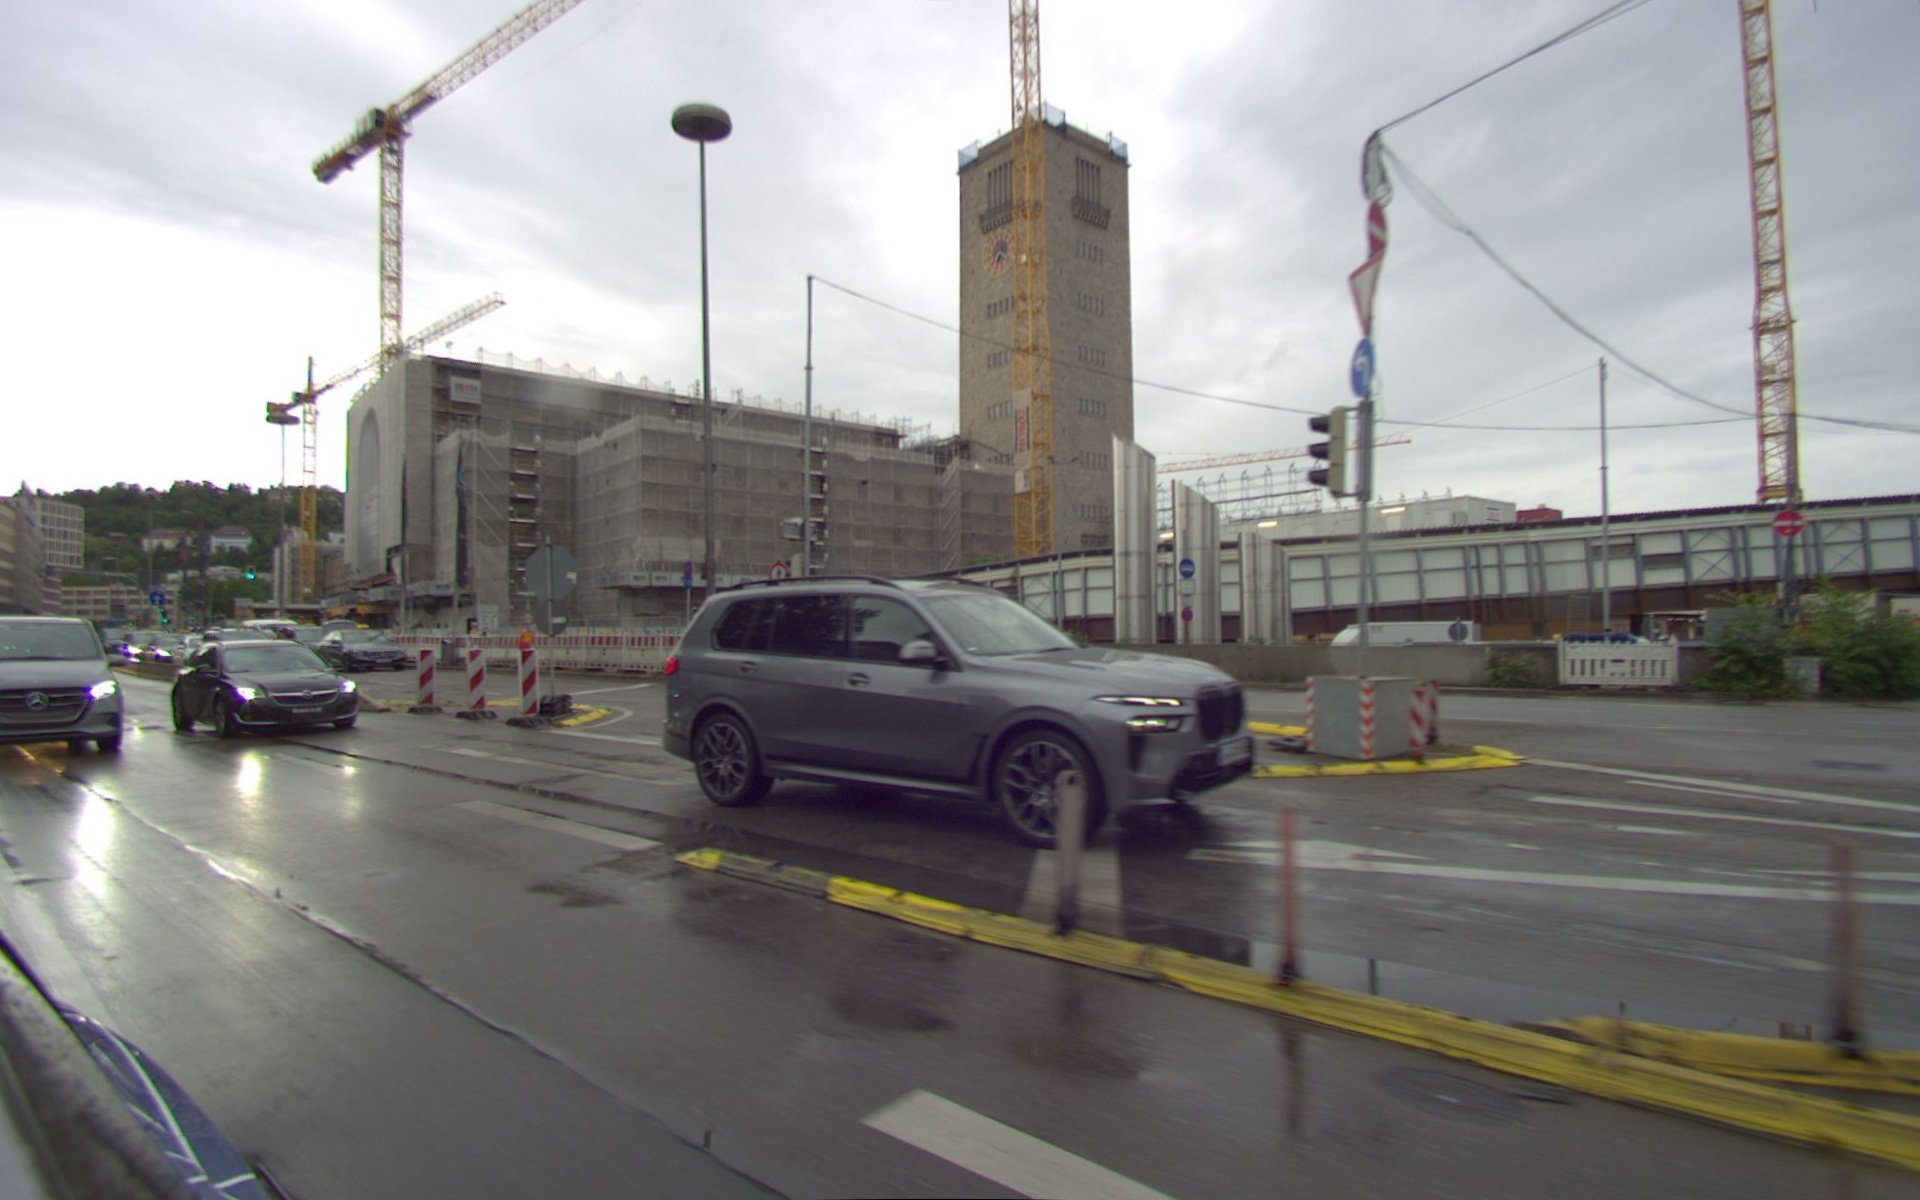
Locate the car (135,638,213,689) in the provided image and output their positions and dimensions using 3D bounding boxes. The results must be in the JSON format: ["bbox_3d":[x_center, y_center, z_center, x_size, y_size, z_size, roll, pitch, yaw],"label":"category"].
[{"bbox_3d":[-34.514,2.769,44.411,4.714,2.130,1.971,-3,-4,44],"label":"car"}]

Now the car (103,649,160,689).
[{"bbox_3d":[-43.261,3.551,52.821,1.970,2.029,4.003,2,-4,-44],"label":"car"}]

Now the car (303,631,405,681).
[{"bbox_3d":[-21.521,1.990,35.873,4.572,1.665,1.808,-3,-4,42],"label":"car"}]

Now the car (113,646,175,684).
[{"bbox_3d":[-39.196,3.094,48.573,1.969,1.730,4.760,2,-4,-42],"label":"car"}]

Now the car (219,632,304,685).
[{"bbox_3d":[-30.860,2.567,44.639,4.997,2.224,1.976,-3,-4,43],"label":"car"}]

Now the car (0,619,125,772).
[{"bbox_3d":[-13.646,1.312,14.495,5.358,1.870,1.972,-4,-3,43],"label":"car"}]

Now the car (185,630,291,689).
[{"bbox_3d":[-24.264,1.966,33.963,4.292,1.828,1.972,-3,-4,42],"label":"car"}]

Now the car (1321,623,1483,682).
[{"bbox_3d":[16.045,1.923,36.997,4.963,2.029,1.997,-1,-3,5],"label":"car"}]

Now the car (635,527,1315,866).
[{"bbox_3d":[-0.098,0.624,8.025,5.064,1.877,2.189,-2,-2,36],"label":"car"}]

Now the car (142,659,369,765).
[{"bbox_3d":[-11.722,1.746,16.705,4.914,1.475,1.789,-2,-6,40],"label":"car"}]

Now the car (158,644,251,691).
[{"bbox_3d":[-28.434,2.516,38.017,4.901,1.667,1.971,-4,-5,44],"label":"car"}]

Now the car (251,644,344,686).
[{"bbox_3d":[-26.340,2.568,40.201,3.999,1.585,2.144,-3,-4,42],"label":"car"}]
